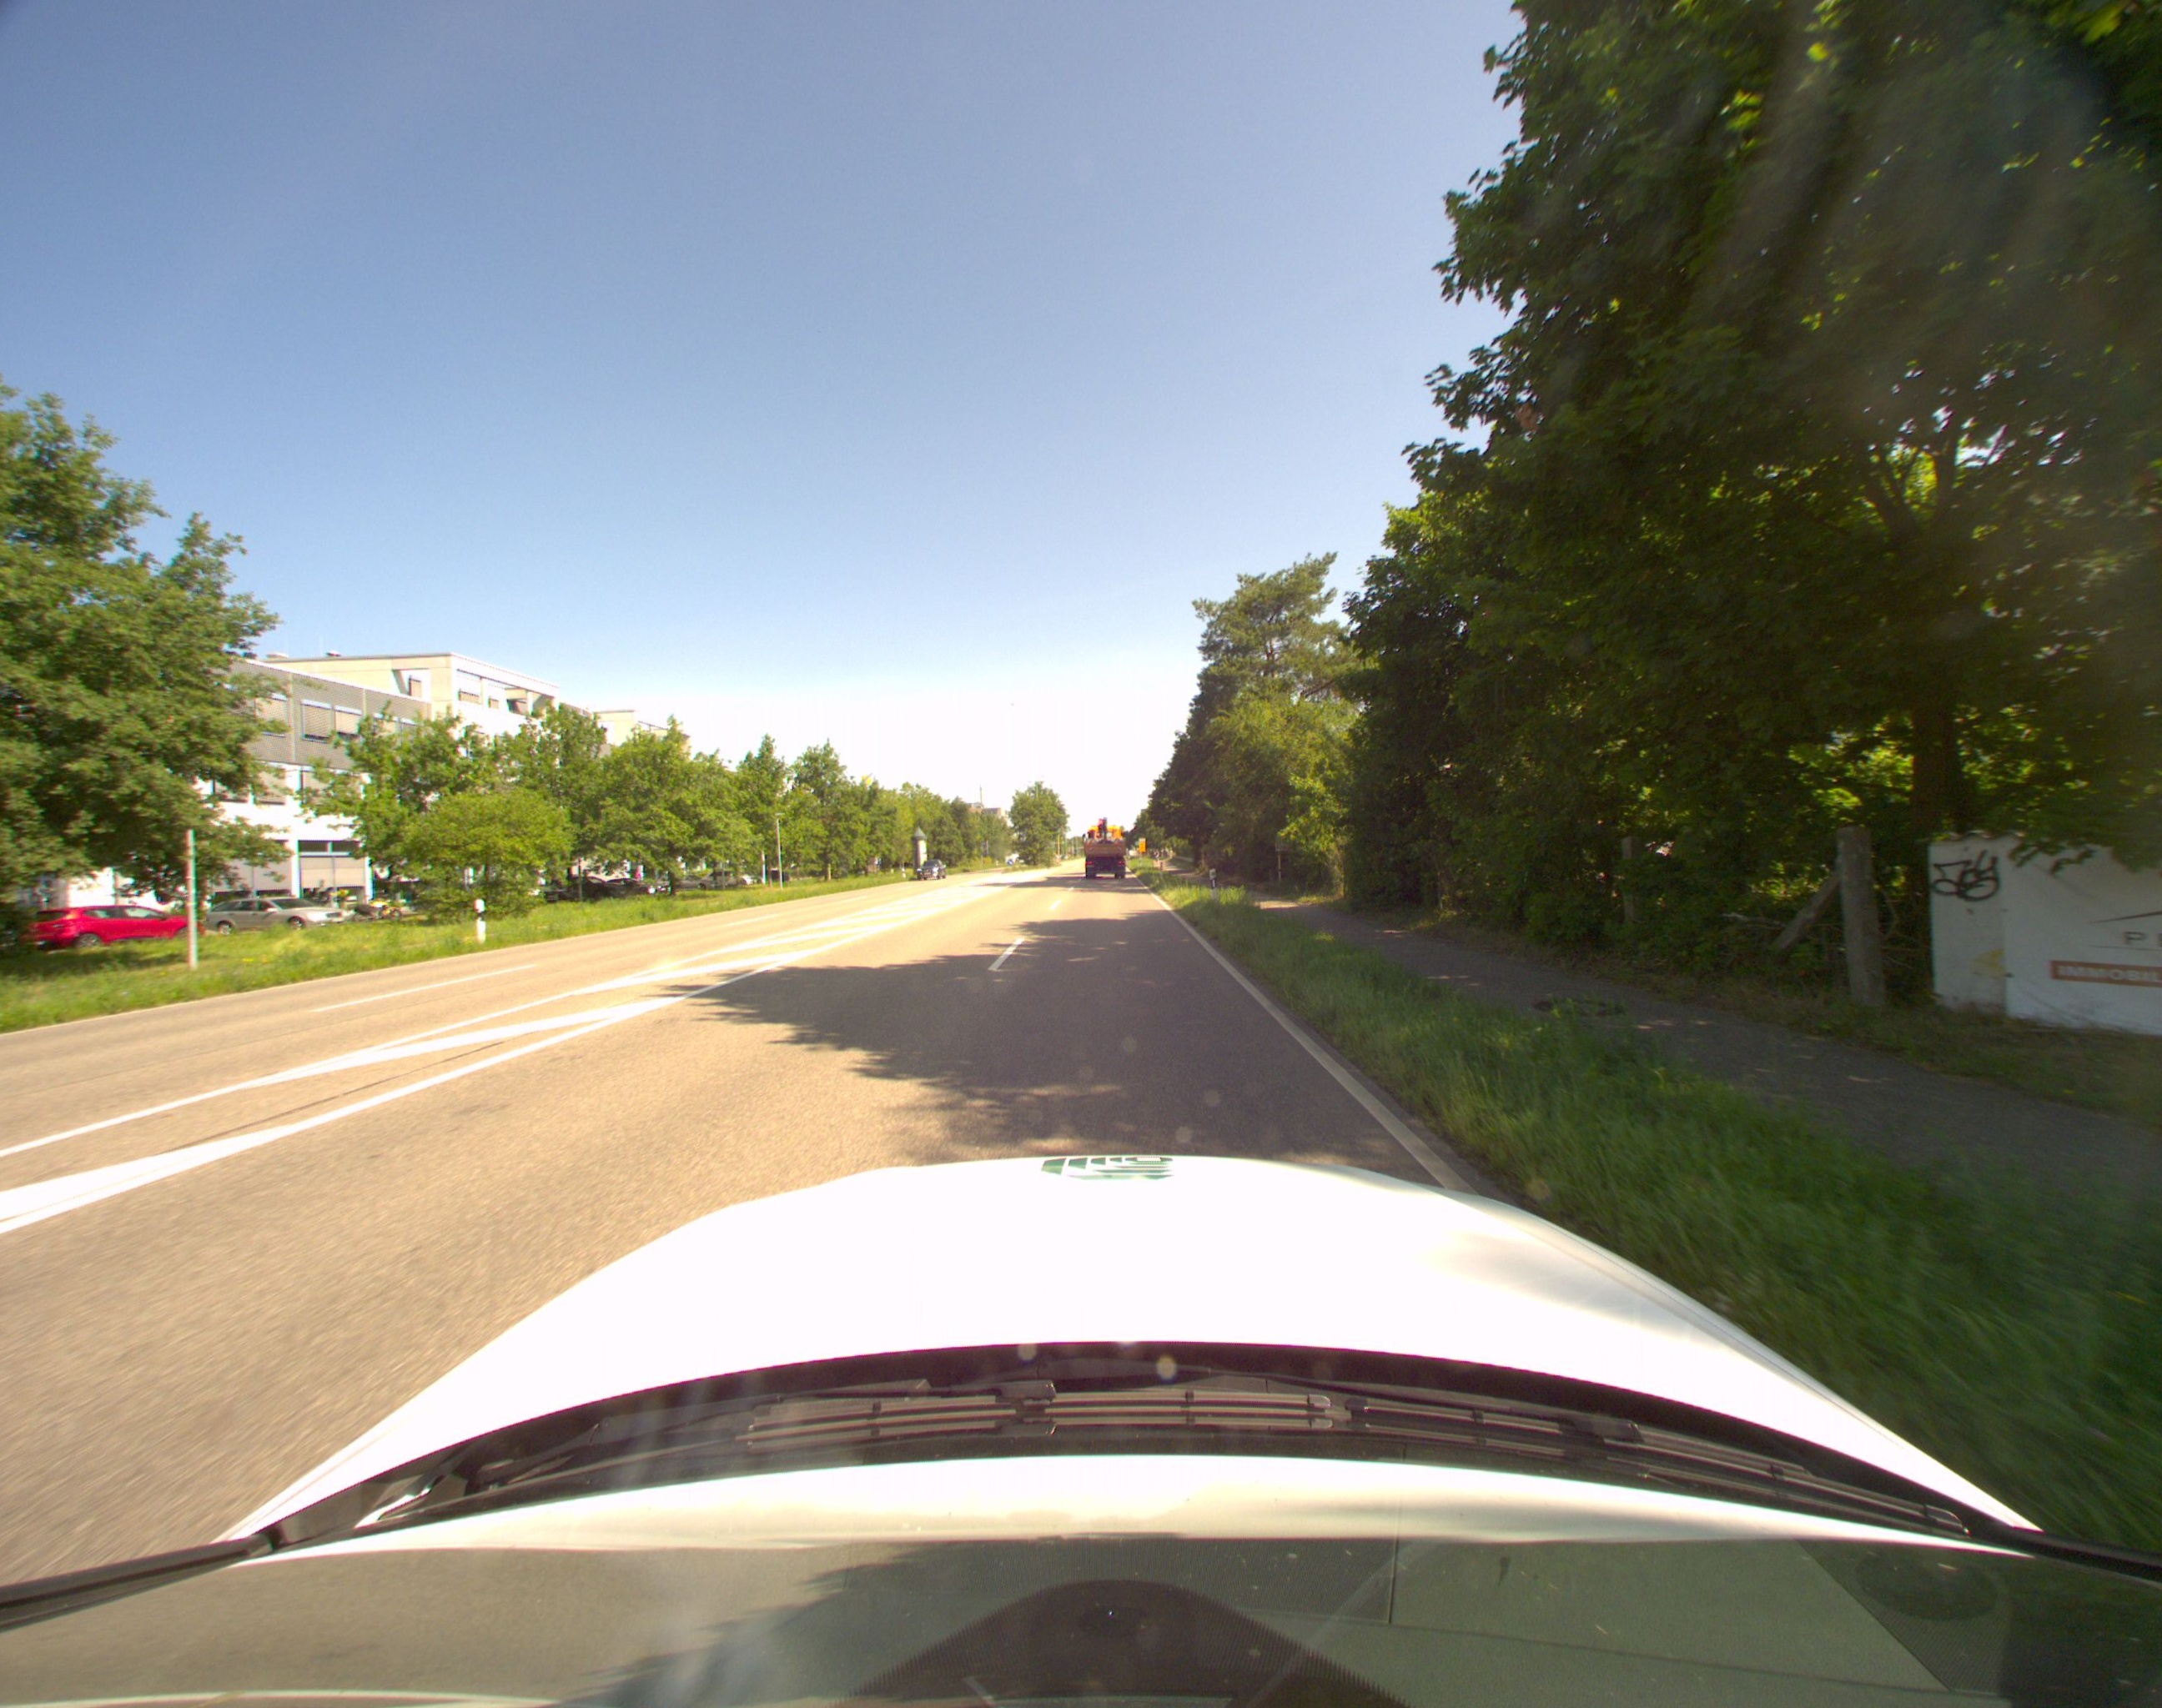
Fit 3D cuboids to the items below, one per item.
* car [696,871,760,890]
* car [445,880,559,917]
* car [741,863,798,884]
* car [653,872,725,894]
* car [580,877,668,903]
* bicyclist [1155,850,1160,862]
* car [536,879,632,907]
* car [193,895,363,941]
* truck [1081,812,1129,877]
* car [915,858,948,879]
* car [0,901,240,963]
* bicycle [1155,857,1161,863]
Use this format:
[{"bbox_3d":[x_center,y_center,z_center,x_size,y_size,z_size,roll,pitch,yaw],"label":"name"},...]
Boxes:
[{"bbox_3d":[-30.609,2.284,70.676,4.578,1.437,2.001,-2,0,1],"label":"car"},{"bbox_3d":[-30.950,2.358,43.635,4.578,1.650,2.001,-2,0,1],"label":"car"},{"bbox_3d":[-29.510,1.855,77.318,4.512,1.757,2.003,-3,0,4],"label":"car"},{"bbox_3d":[-30.876,2.304,64.237,4.578,1.437,2.001,-2,0,1],"label":"car"},{"bbox_3d":[-30.013,2.371,53.554,4.578,1.437,2.001,-2,0,1],"label":"car"},{"bbox_3d":[10.101,0.287,107.543,0.556,1.558,0.558,-3,0,1],"label":"bicyclist"},{"bbox_3d":[-30.417,2.378,49.910,4.578,1.437,2.001,-2,0,1],"label":"car"},{"bbox_3d":[-31.101,2.468,31.631,4.578,1.437,2.001,-2,0,1],"label":"car"},{"bbox_3d":[1.425,-0.570,52.118,2.863,3.880,7.398,0,0,0],"label":"truck"},{"bbox_3d":[-12.367,1.163,67.702,1.794,1.572,4.001,-3,0,1],"label":"car"},{"bbox_3d":[-30.154,2.390,25.805,1.985,1.437,4.615,-2,0,4],"label":"car"},{"bbox_3d":[10.138,0.783,107.554,0.556,0.815,1.964,-3,0,2],"label":"bicycle"}]
